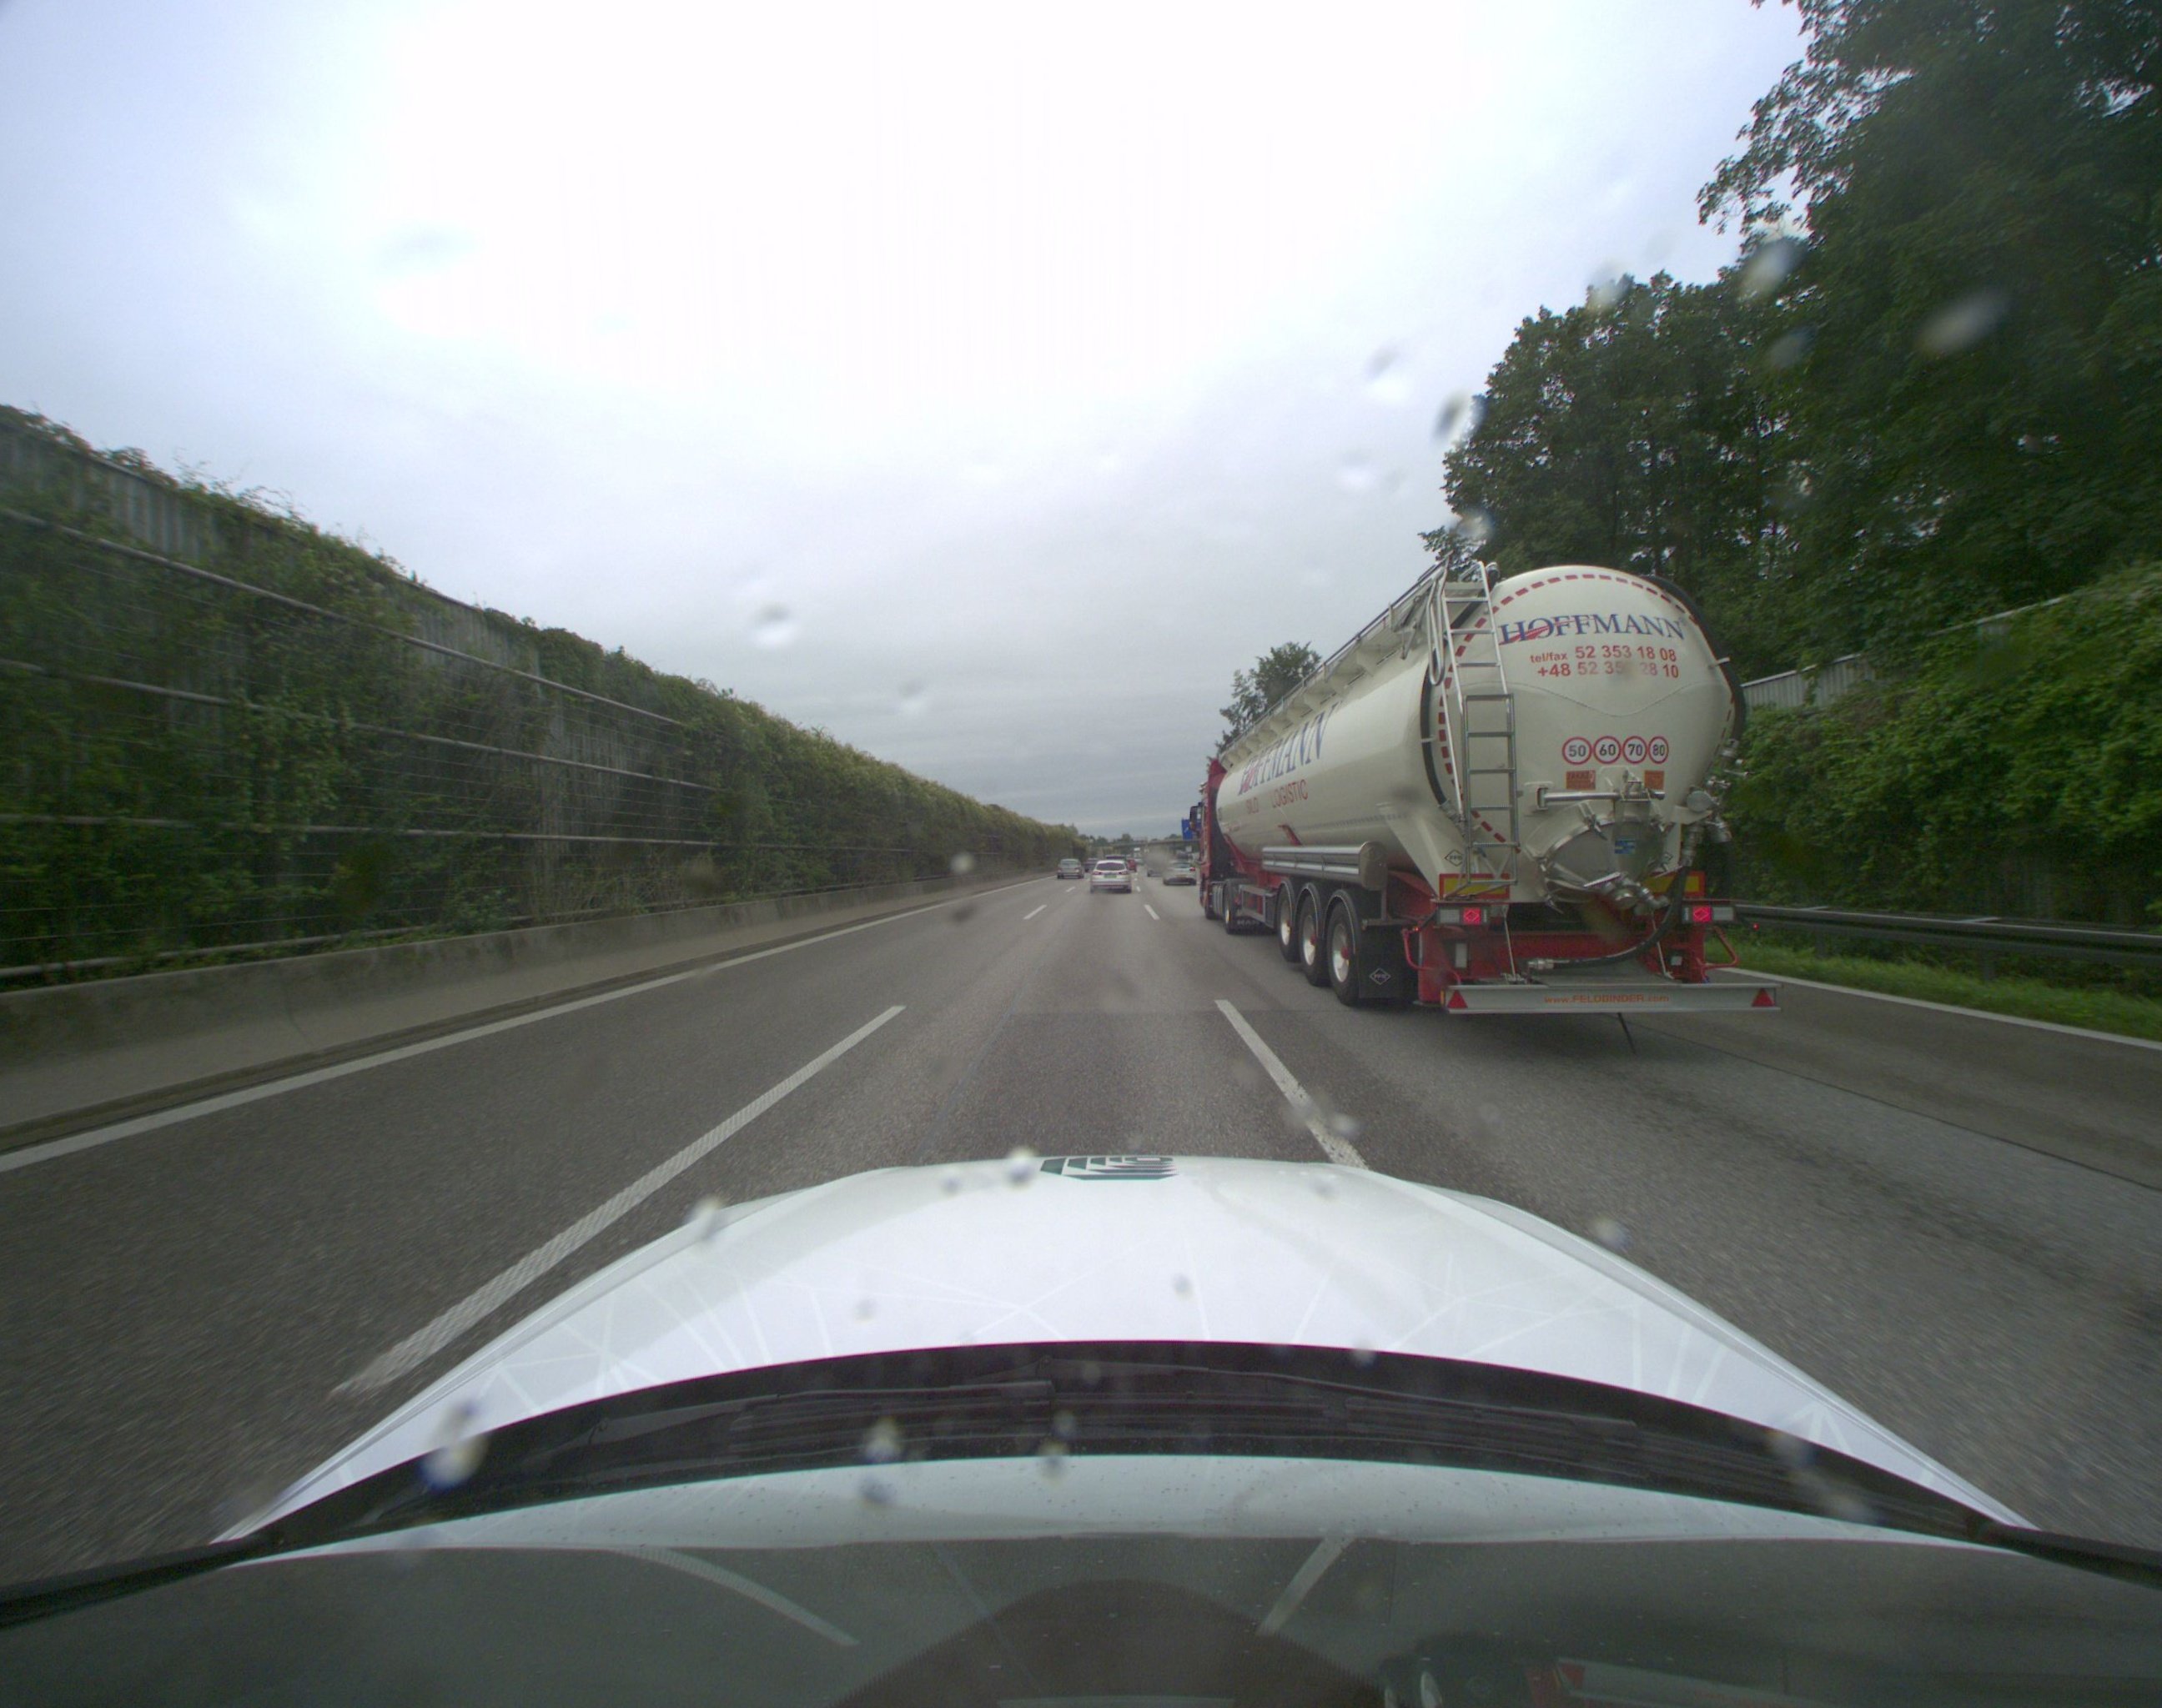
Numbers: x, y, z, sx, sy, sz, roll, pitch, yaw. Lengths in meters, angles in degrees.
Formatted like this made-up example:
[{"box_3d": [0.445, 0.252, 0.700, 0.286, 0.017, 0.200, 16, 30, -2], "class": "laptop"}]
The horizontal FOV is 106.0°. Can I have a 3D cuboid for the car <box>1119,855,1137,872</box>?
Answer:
[{"box_3d": [4.697, 0.935, 81.691, 1.681, 1.506, 3.875, 3, 1, 4], "class": "car"}]

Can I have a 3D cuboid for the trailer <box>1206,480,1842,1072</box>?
[{"box_3d": [3.962, -0.459, 12.043, 2.658, 3.939, 13.136, -1, -1, 2], "class": "trailer"}]

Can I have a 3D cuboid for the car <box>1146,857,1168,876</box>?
[{"box_3d": [6.119, 1.007, 66.066, 1.681, 1.506, 3.875, -1, -1, 4], "class": "car"}]

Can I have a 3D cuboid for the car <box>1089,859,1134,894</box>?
[{"box_3d": [1.381, 0.993, 37.328, 1.885, 1.504, 5.031, 0, -1, 2], "class": "car"}]

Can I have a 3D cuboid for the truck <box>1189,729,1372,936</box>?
[{"box_3d": [4.247, -0.358, 18.870, 2.685, 3.913, 6.557, -1, -1, 1], "class": "truck"}]

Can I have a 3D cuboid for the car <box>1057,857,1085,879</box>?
[{"box_3d": [-0.744, 1.114, 62.304, 1.712, 1.469, 5.034, -1, -3, 4], "class": "car"}]

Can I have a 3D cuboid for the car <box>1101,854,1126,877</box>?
[{"box_3d": [2.368, 0.846, 60.172, 1.683, 1.506, 3.873, 3, 1, 1], "class": "car"}]

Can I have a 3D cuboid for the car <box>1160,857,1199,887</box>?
[{"box_3d": [5.608, 0.996, 46.786, 1.809, 1.625, 5.032, -1, -1, 2], "class": "car"}]

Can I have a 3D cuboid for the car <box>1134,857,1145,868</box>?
[{"box_3d": [9.840, 1.373, 137.226, 1.781, 1.780, 3.876, -2, -1, 5], "class": "car"}]

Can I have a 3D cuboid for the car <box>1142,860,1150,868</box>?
[{"box_3d": [13.512, 2.077, 169.076, 1.682, 1.539, 3.874, -1, 0, 3], "class": "car"}]

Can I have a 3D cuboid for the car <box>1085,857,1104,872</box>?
[{"box_3d": [1.443, 1.066, 86.293, 1.712, 1.512, 5.036, -1, -1, 4], "class": "car"}]
